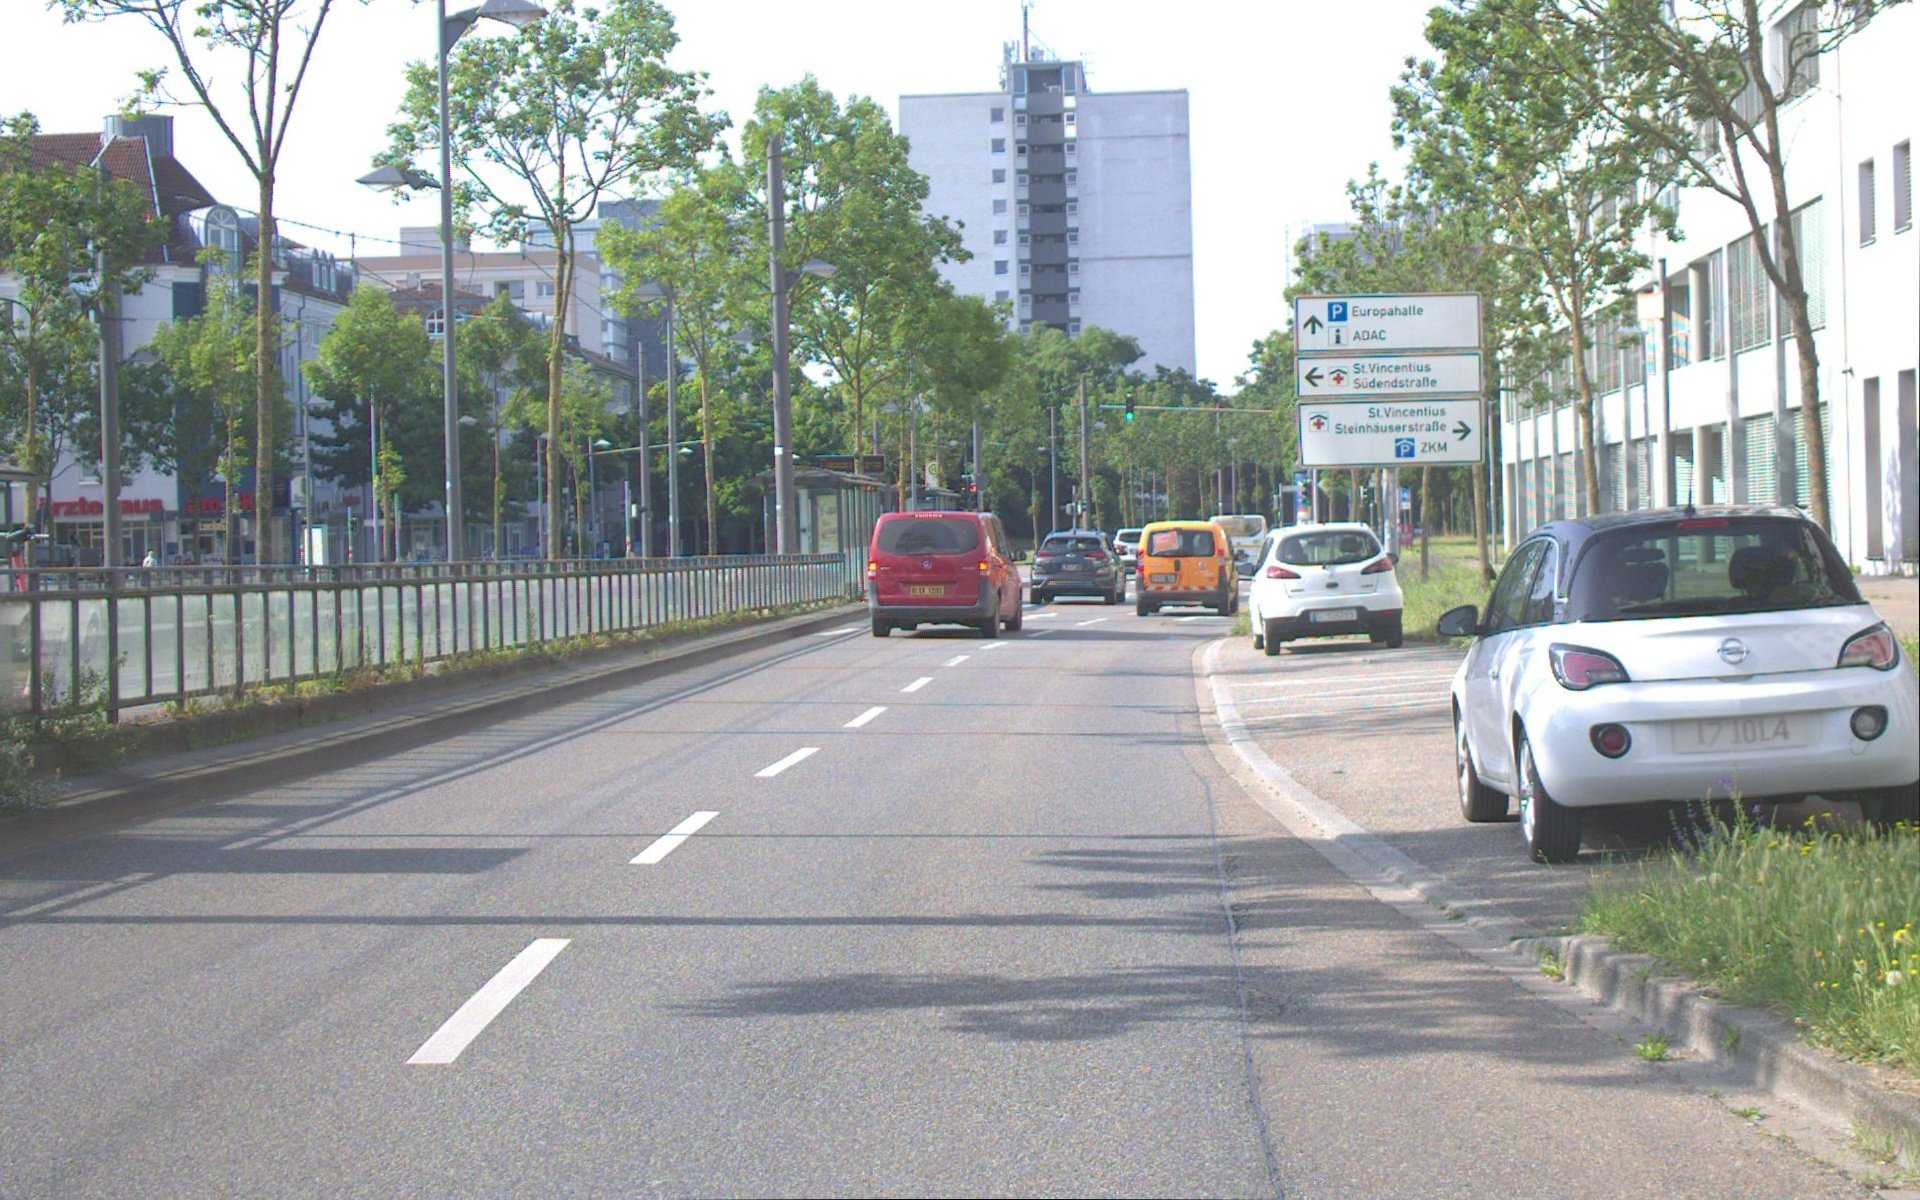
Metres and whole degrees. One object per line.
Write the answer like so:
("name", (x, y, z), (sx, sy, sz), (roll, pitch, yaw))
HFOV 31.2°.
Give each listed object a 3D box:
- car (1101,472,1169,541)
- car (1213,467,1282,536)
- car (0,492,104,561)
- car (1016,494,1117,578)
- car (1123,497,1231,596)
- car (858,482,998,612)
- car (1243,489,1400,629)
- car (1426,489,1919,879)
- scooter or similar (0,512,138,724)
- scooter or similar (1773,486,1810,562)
("car", (5.326, -2.870, 104.835), (1.994, 2.006, 4.000), (-2, 2, 3))
("car", (8.806, -3.031, 105.571), (1.994, 2.006, 4.000), (-2, 2, 4))
("car", (-28.108, -2.251, 104.929), (2.366, 2.023, 5.311), (-2, 2, 3))
("car", (2.317, -1.395, 73.694), (1.994, 1.700, 4.000), (-2, 2, 4))
("car", (3.998, -1.001, 62.964), (1.876, 1.690, 3.973), (-1, 2, 4))
("car", (-0.440, -0.831, 51.947), (1.874, 1.847, 4.000), (-1, 2, 2))
("car", (4.364, -0.534, 41.940), (1.689, 1.521, 3.850), (-3, 2, 4))
("car", (3.212, 0.287, 15.981), (1.720, 1.513, 3.781), (-1, 3, 3))
("scooter or similar", (-5.651, 0.100, 20.980), (0.427, 1.234, 1.260), (-1, 2, 31))
("scooter or similar", (13.883, -1.277, 57.388), (0.462, 1.209, 1.254), (-2, 2, 10))
